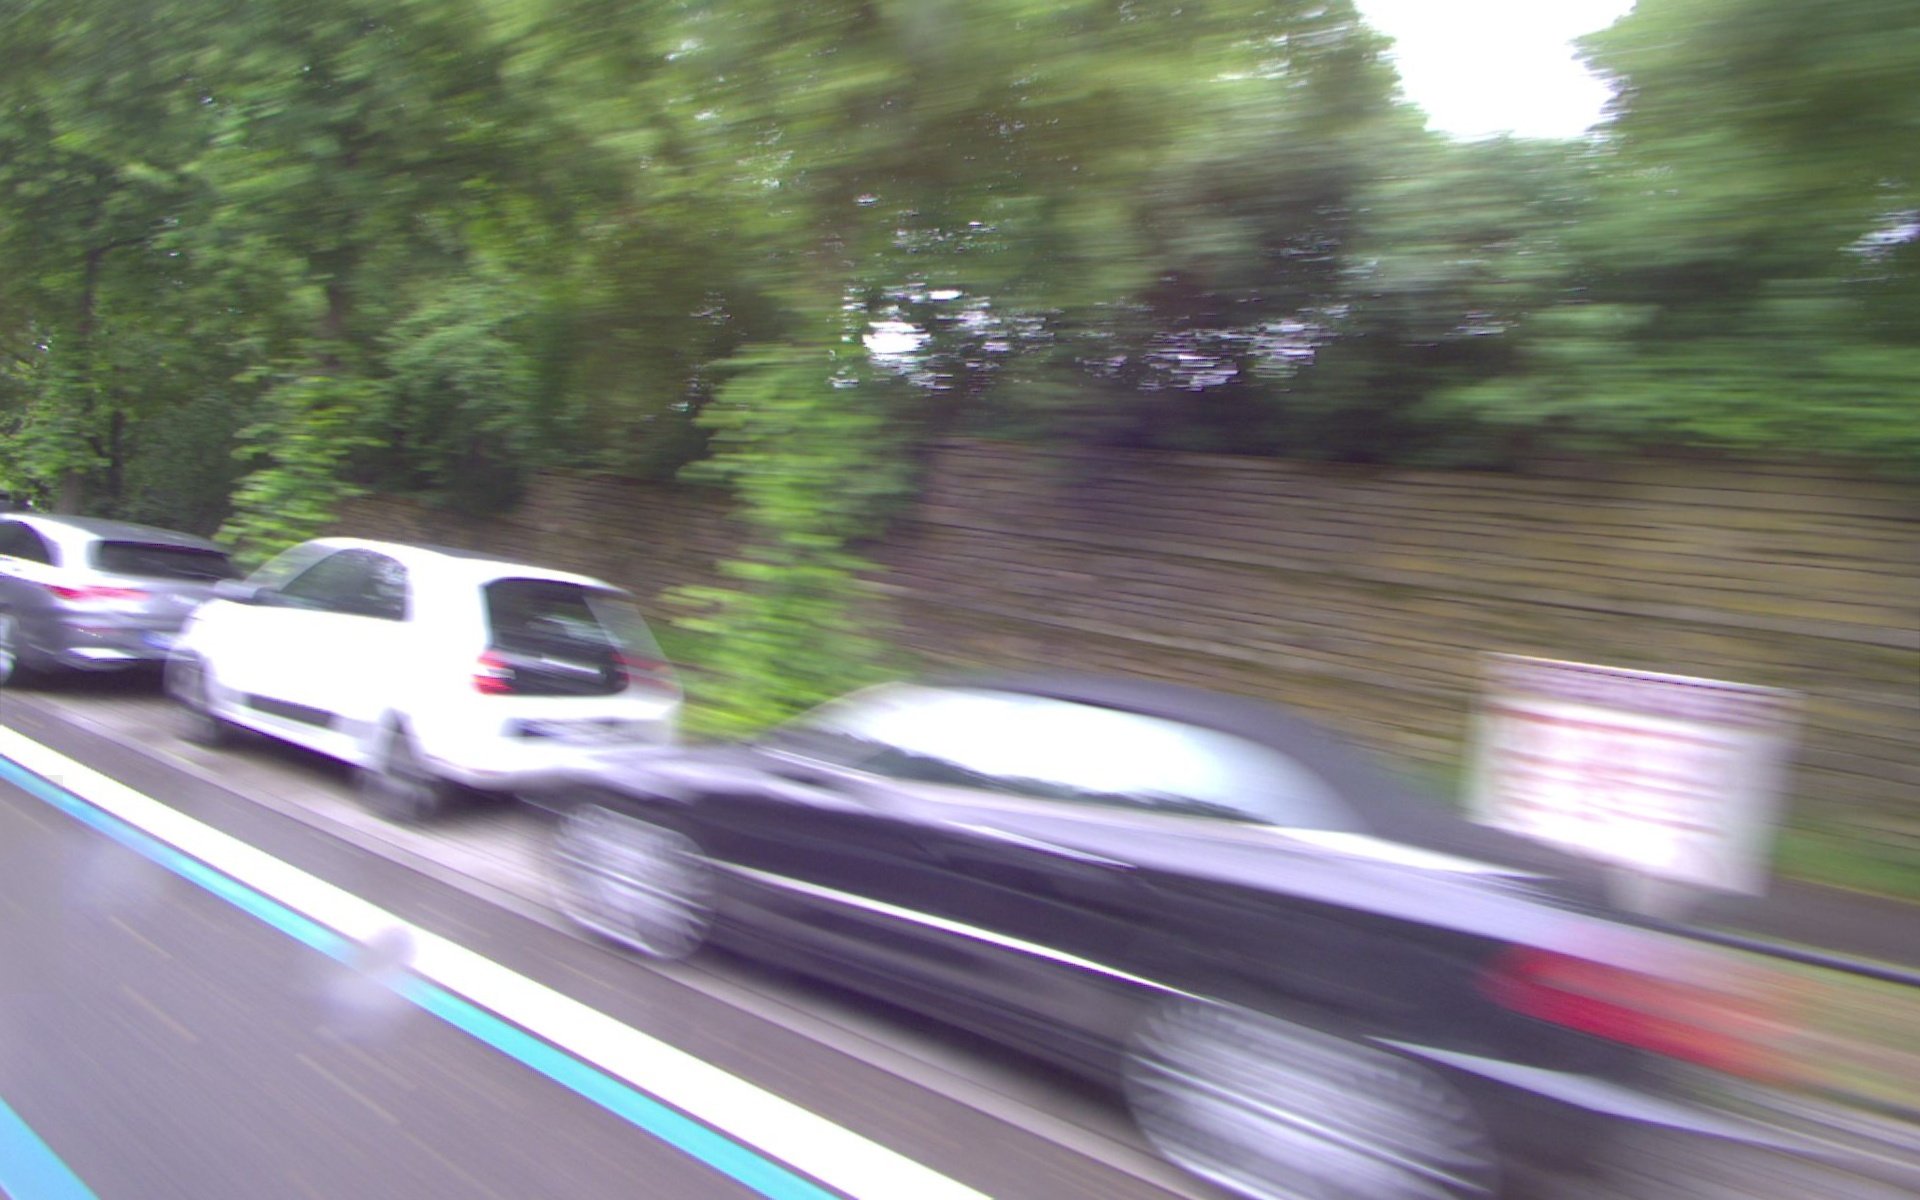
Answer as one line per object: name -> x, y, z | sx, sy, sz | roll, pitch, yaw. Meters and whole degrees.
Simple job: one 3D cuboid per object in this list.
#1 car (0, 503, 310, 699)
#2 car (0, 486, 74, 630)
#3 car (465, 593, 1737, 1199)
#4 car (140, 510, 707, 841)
car -> -8.054, -0.091, 9.226 | 4.394, 1.364, 1.777 | 6, -2, 33
car -> -13.370, -0.708, 12.774 | 4.278, 1.664, 1.996 | 5, -1, 33
car -> 0.179, 0.905, 4.142 | 4.482, 1.392, 1.721 | 5, -1, 31
car -> -3.752, 0.387, 6.904 | 3.679, 1.553, 1.664 | 7, -2, 31
